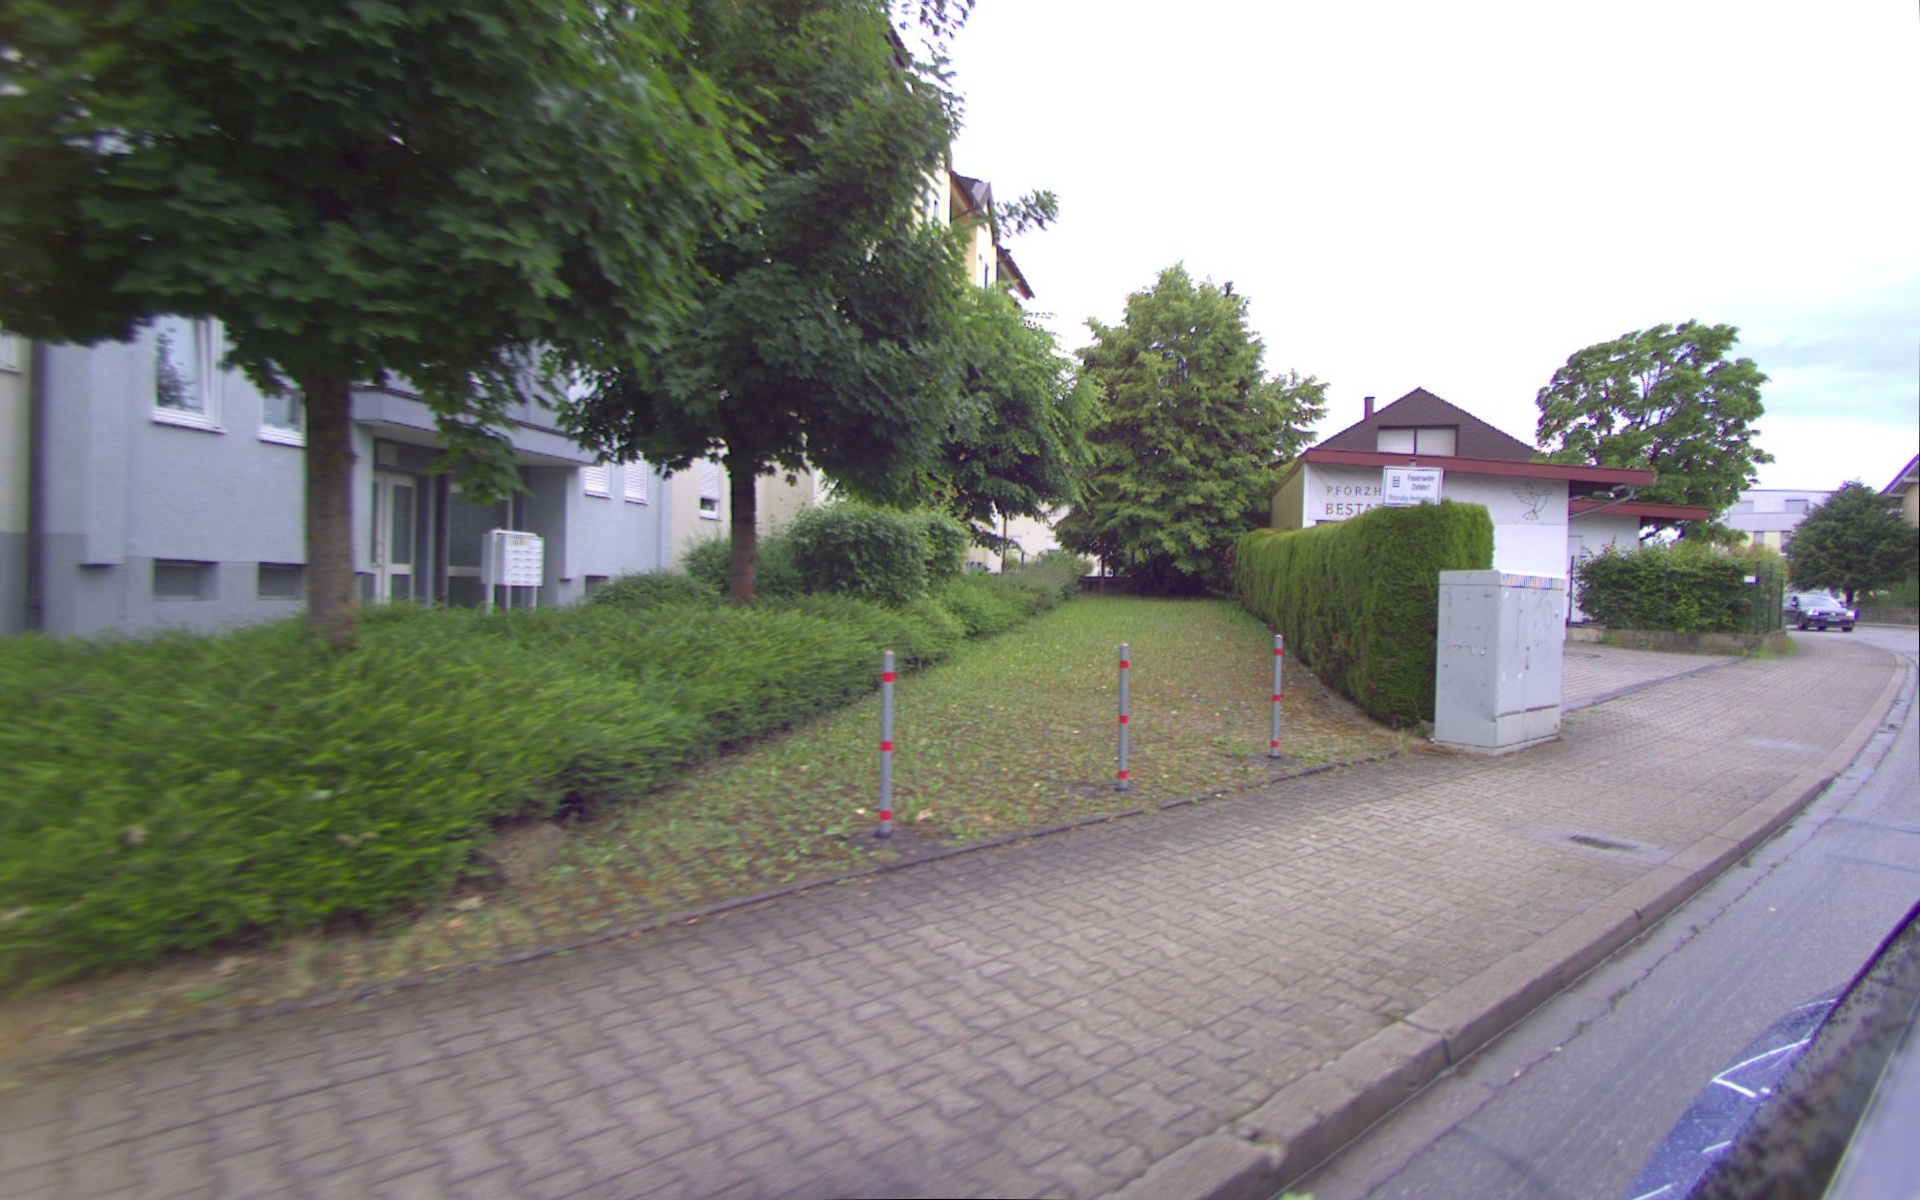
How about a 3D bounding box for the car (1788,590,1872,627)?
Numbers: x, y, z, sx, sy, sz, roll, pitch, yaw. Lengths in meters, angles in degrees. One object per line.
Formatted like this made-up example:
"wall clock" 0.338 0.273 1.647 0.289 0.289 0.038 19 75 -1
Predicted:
"car" 39.077 0.350 45.555 1.823 1.569 3.965 1 1 25
